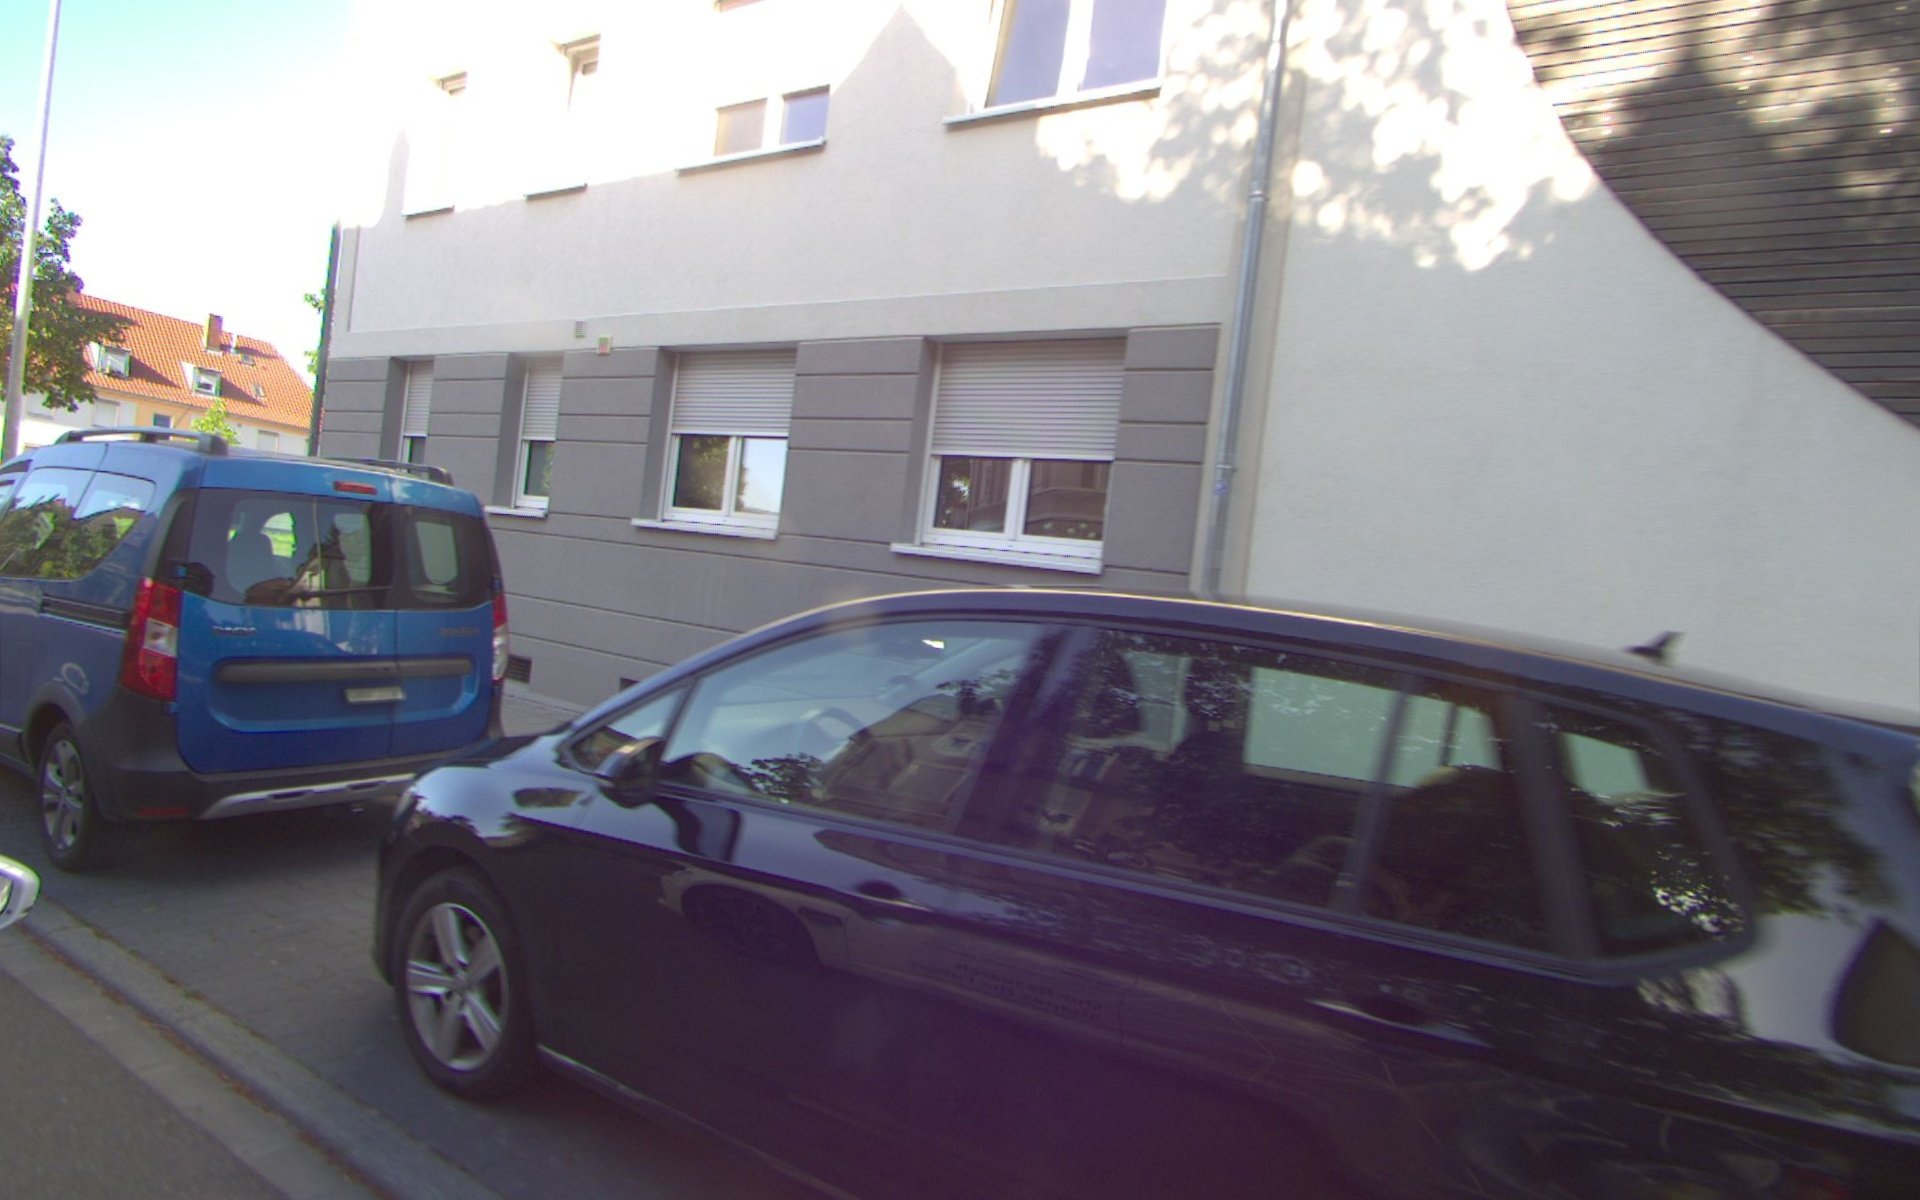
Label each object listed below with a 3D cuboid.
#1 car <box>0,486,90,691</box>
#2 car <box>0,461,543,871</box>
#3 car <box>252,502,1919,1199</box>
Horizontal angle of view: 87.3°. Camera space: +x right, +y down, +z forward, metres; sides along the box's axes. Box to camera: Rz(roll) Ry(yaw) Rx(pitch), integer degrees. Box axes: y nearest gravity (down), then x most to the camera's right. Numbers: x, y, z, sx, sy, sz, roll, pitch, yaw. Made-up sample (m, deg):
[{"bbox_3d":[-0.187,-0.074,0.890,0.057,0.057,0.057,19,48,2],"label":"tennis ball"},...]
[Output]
[{"bbox_3d":[-8.385,-0.225,7.747,3.669,1.430,1.563,6,3,32],"label":"car"},{"bbox_3d":[-4.318,0.081,5.380,4.195,1.455,1.681,5,3,31],"label":"car"},{"bbox_3d":[0.006,0.704,2.841,4.108,1.552,1.737,7,3,31],"label":"car"}]
